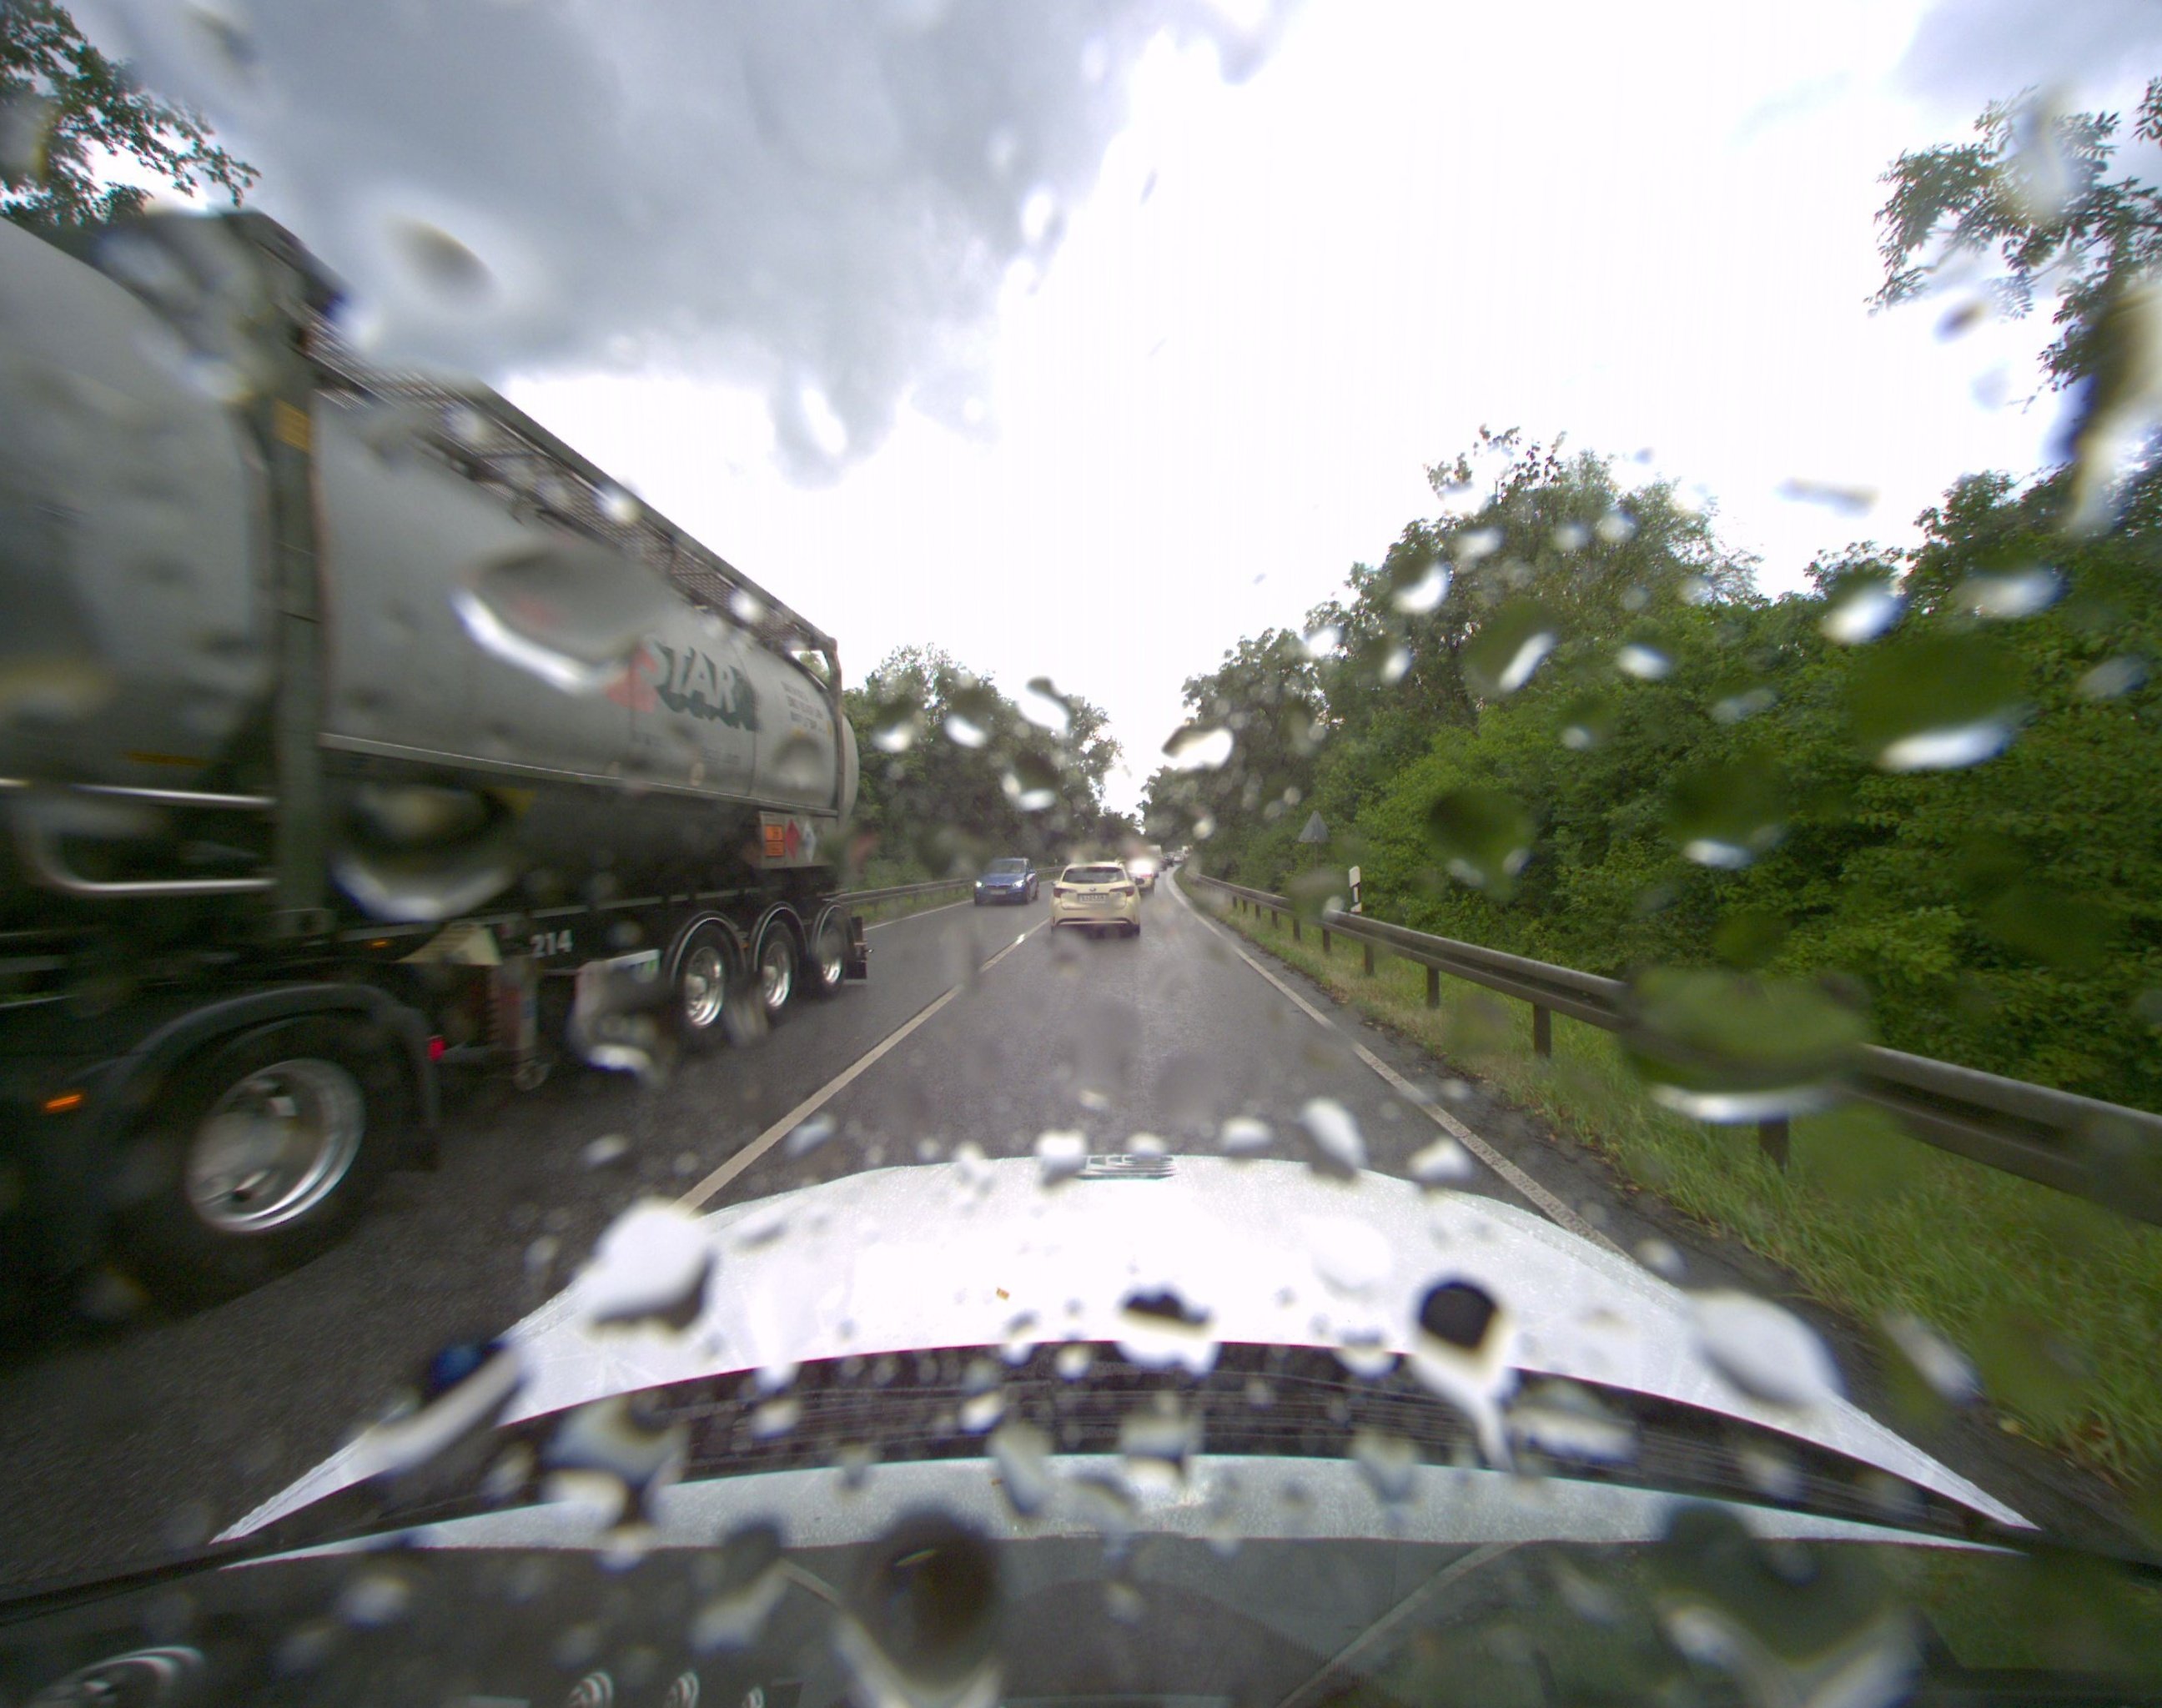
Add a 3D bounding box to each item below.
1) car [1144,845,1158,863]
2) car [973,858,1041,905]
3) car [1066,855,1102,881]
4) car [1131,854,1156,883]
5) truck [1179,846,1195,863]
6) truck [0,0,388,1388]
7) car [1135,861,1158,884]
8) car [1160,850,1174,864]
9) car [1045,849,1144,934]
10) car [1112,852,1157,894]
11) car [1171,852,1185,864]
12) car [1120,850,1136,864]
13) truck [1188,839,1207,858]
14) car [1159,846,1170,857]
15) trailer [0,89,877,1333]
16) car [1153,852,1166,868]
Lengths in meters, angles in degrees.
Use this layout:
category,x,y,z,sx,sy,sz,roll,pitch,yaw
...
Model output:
category,x,y,z,sx,sy,sz,roll,pitch,yaw
car,10.750,0.084,125.015,2.038,2.677,6.180,-1,-1,5
car,-2.489,0.904,28.267,1.699,1.516,3.918,0,-1,5
car,0.251,0.874,52.661,1.837,1.644,4.306,0,0,6
car,3.480,0.787,45.511,1.295,1.547,3.263,0,-1,4
truck,17.997,0.120,138.489,2.537,2.713,7.547,0,-1,6
truck,-4.234,-0.484,0.771,2.527,3.825,5.246,0,-1,1
car,4.796,1.319,59.402,1.603,1.547,3.819,-1,-1,5
car,10.239,0.405,96.795,1.607,1.613,3.628,0,-1,7
car,0.369,0.725,17.196,1.826,1.580,4.160,0,-1,3
car,2.132,0.738,32.256,1.660,1.580,3.896,0,-1,4
car,13.848,0.581,116.484,1.759,1.547,3.823,-1,-1,9
car,5.383,0.297,92.466,1.684,1.555,4.447,0,0,4
truck,23.276,-1.003,162.189,3.085,3.680,7.026,-1,-1,14
car,16.613,-0.486,162.025,1.983,2.014,4.007,0,-1,7
trailer,-4.012,-0.405,6.422,2.526,3.825,7.796,0,-1,3
car,7.459,0.599,77.840,1.162,1.547,2.607,0,-1,4
